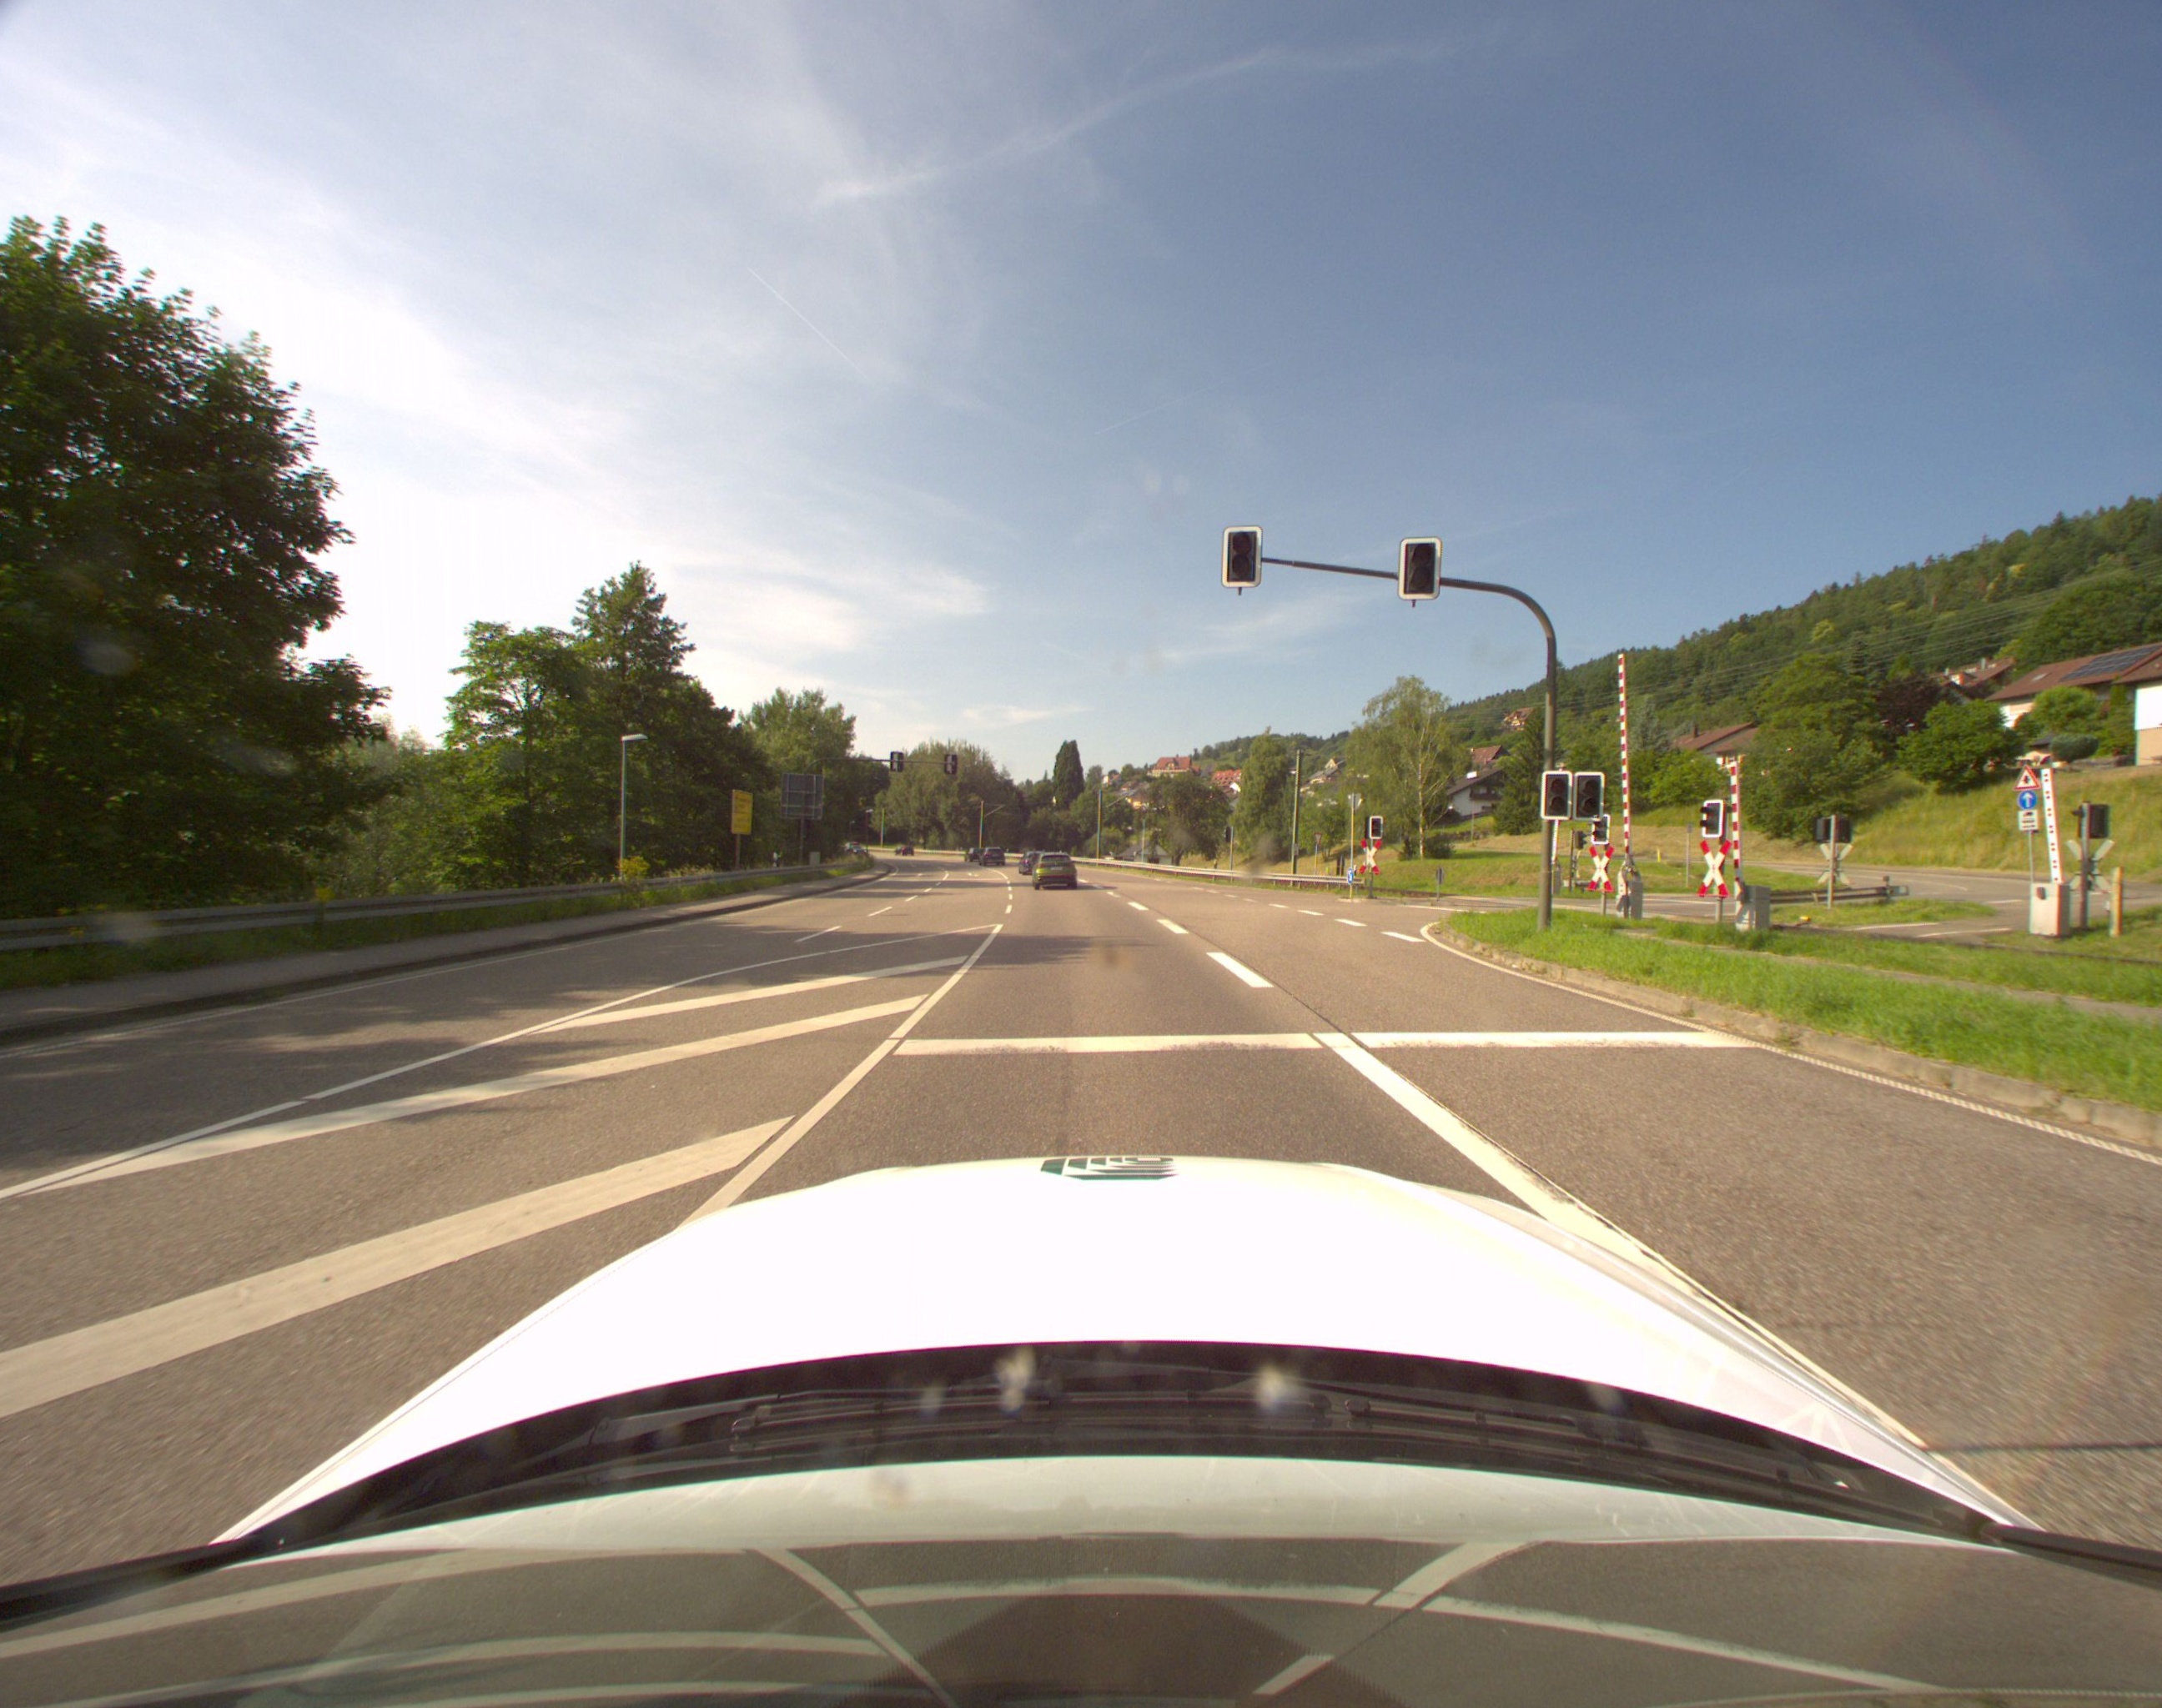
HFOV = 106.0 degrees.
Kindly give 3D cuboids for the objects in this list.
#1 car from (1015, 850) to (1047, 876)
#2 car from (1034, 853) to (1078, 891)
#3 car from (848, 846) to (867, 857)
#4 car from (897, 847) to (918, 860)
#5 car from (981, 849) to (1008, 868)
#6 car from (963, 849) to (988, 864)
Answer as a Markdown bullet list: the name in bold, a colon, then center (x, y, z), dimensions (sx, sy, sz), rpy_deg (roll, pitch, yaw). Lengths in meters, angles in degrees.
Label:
- **car**: center (-3.146, 0.548, 50.576), dimensions (1.666, 1.559, 3.989), rpy_deg (0, 0, -8)
- **car**: center (-1.001, 0.712, 33.993), dimensions (1.710, 1.455, 3.998), rpy_deg (-1, 0, -1)
- **car**: center (-36.911, -0.401, 134.412), dimensions (2.076, 1.811, 3.962), rpy_deg (-1, 1, -30)
- **car**: center (-24.423, -0.070, 114.349), dimensions (2.004, 1.745, 3.967), rpy_deg (0, 0, -26)
- **car**: center (-7.703, 0.398, 72.354), dimensions (1.883, 1.686, 3.980), rpy_deg (0, 0, -15)
- **car**: center (-11.157, 0.200, 86.124), dimensions (1.855, 1.527, 3.637), rpy_deg (0, 1, -21)
